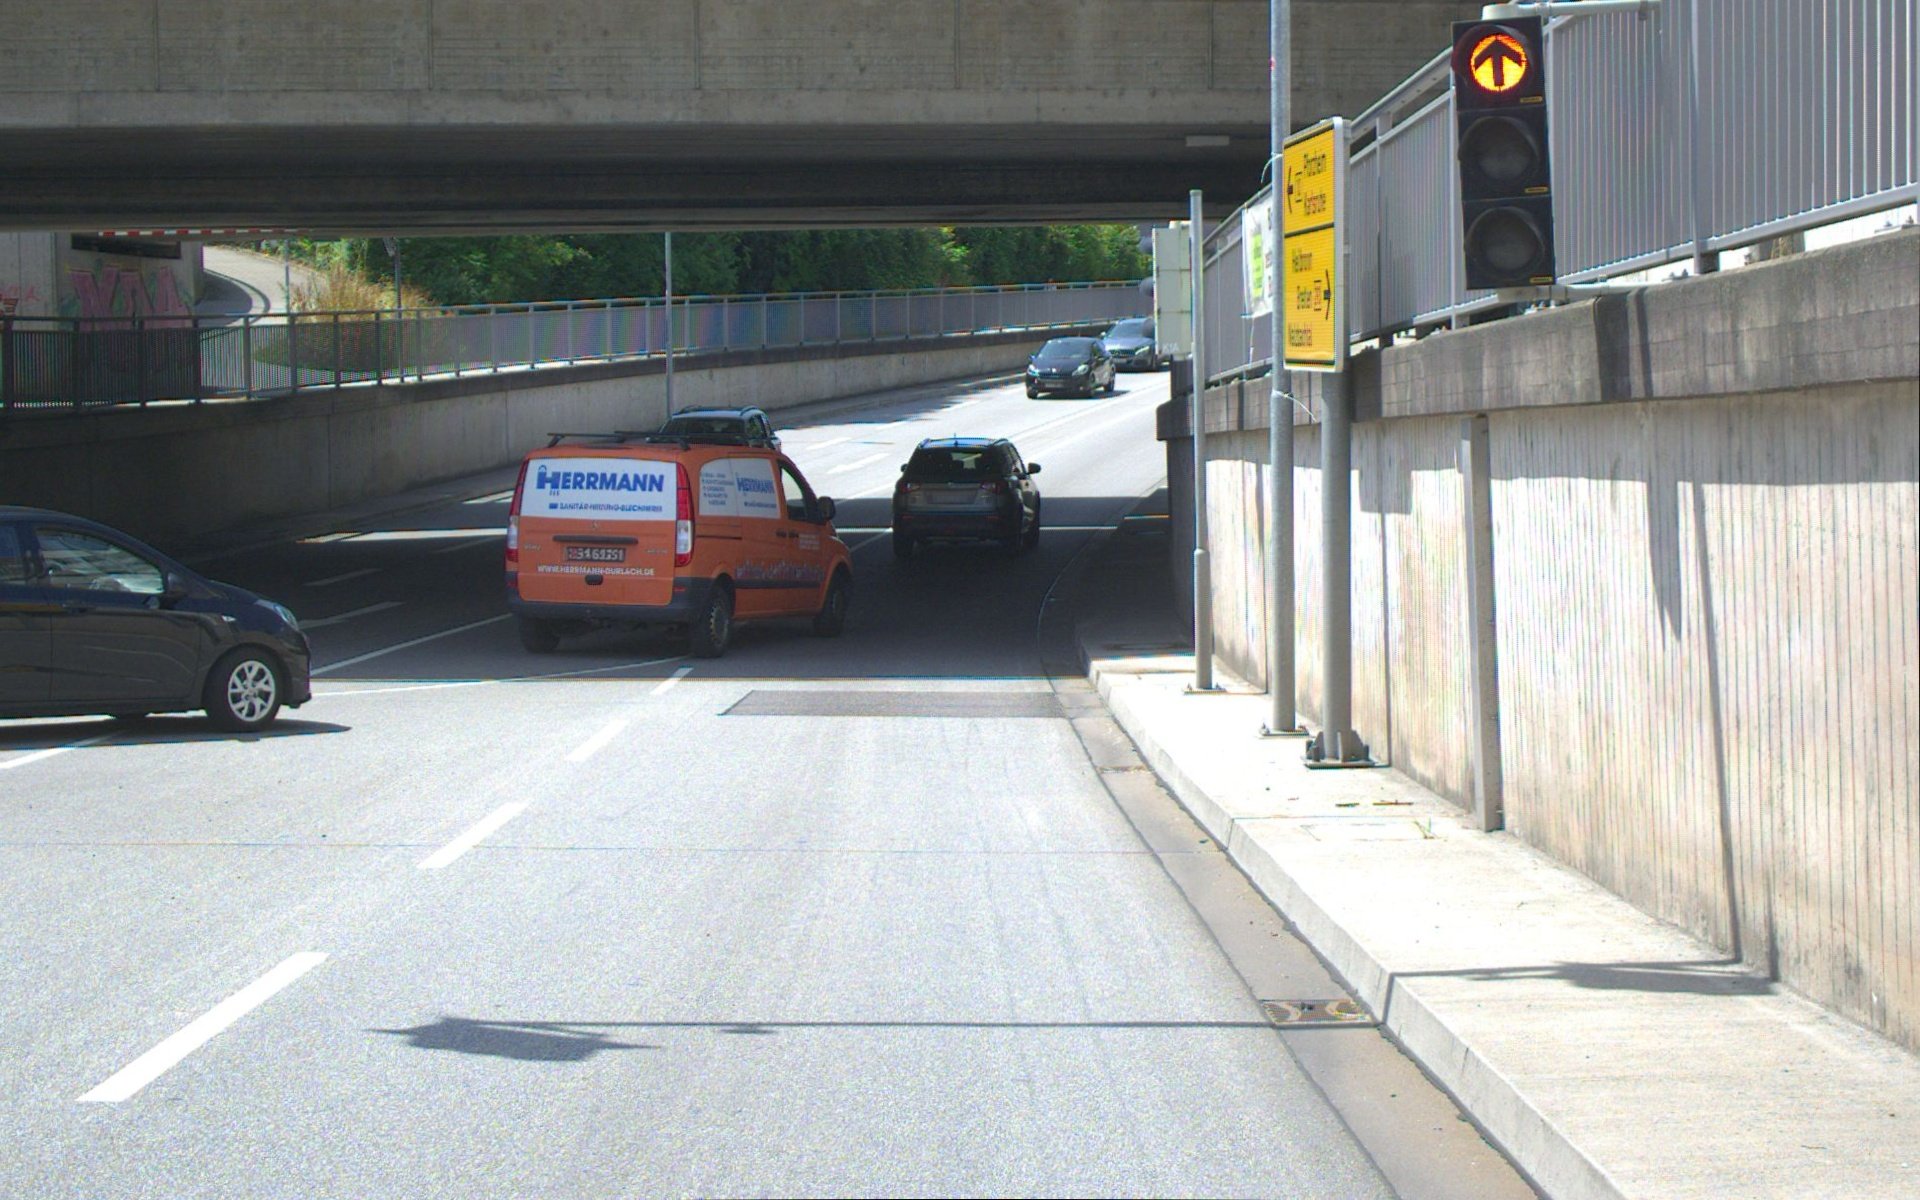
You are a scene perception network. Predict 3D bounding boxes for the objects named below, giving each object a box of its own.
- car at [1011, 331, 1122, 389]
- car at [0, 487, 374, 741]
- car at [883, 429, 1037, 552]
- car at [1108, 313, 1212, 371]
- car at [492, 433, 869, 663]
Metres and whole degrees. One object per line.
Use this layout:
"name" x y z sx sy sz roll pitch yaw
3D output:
"car" 2.766 -6.170 88.561 1.783 1.431 3.997 1 4 18
"car" -6.043 0.053 22.197 3.988 1.502 2.000 -2 4 -39
"car" 0.042 -1.579 48.296 1.804 1.612 4.000 1 3 5
"car" 5.797 -7.437 99.293 1.995 1.583 3.997 1 4 19
"car" -2.521 -0.572 32.308 1.874 1.925 4.716 1 4 18
